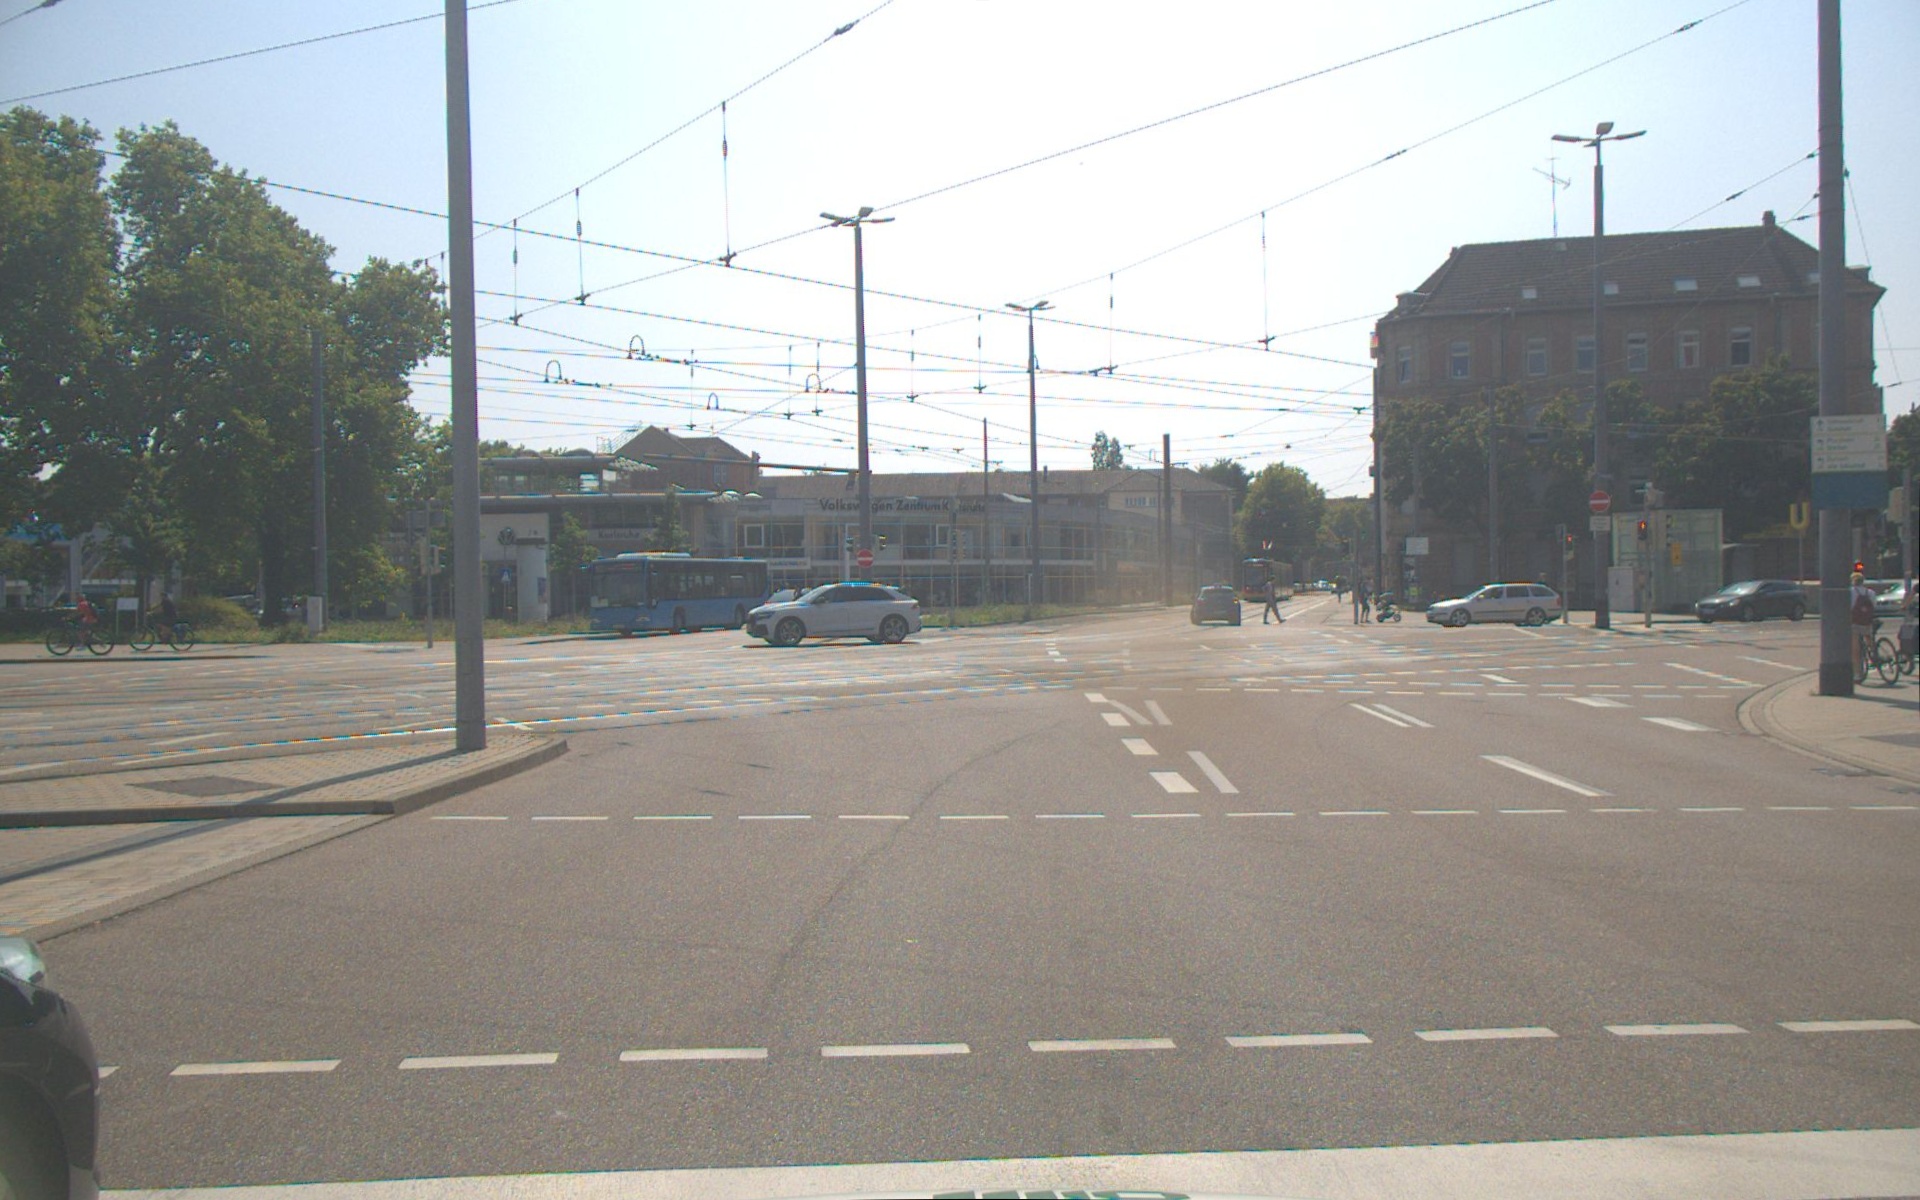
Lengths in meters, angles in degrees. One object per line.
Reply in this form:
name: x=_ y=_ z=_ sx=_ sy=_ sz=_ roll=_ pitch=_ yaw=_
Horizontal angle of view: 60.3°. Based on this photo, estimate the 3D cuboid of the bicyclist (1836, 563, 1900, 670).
bicyclist: x=13.401 y=0.240 z=24.423 sx=0.614 sy=1.544 sz=0.712 roll=-1 pitch=0 yaw=11

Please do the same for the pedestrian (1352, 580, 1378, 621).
pedestrian: x=15.712 y=0.011 z=64.121 sx=0.834 sy=1.572 sz=0.528 roll=-1 pitch=0 yaw=-9

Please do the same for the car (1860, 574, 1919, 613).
car: x=36.422 y=-0.268 z=62.948 sx=4.137 sy=1.440 sz=1.761 roll=-1 pitch=0 yaw=-26

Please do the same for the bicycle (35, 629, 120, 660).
bicycle: x=-24.622 y=1.232 z=46.186 sx=2.013 sy=0.816 sz=0.478 roll=-1 pitch=0 yaw=-13

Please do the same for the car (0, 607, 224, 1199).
car: x=-2.508 y=0.726 z=1.592 sx=1.728 sy=1.412 sz=3.783 roll=1 pitch=0 yaw=3

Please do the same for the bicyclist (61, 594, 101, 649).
bicyclist: x=-24.546 y=0.604 z=46.179 sx=0.856 sy=1.509 sz=0.496 roll=-1 pitch=0 yaw=-12

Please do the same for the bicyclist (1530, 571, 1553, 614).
bicyclist: x=21.363 y=-0.286 z=60.761 sx=0.603 sy=1.555 sz=0.517 roll=-1 pitch=0 yaw=-25

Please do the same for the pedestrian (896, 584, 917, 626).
pedestrian: x=-1.894 y=0.163 z=58.525 sx=0.666 sy=1.468 sz=0.364 roll=-1 pitch=0 yaw=-18

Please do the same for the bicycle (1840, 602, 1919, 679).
bicycle: x=13.419 y=0.572 z=24.182 sx=0.525 sy=1.073 sz=1.655 roll=-1 pitch=0 yaw=12

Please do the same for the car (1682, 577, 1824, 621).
car: x=27.864 y=-0.044 z=58.119 sx=4.684 sy=1.440 sz=1.765 roll=-1 pitch=0 yaw=-20

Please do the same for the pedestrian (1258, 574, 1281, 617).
pedestrian: x=12.087 y=-0.173 z=64.618 sx=0.686 sy=1.631 sz=0.572 roll=-1 pitch=0 yaw=-8

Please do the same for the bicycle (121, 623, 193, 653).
bicycle: x=-23.576 y=1.106 z=48.576 sx=1.828 sy=0.816 sz=0.604 roll=-1 pitch=0 yaw=-19

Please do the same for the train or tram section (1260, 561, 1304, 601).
train or tram section: x=30.861 y=-1.787 z=158.274 sx=2.534 sy=3.578 sz=12.979 roll=-1 pitch=0 yaw=18

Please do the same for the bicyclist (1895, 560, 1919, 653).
bicyclist: x=14.826 y=0.091 z=25.417 sx=0.519 sy=1.417 sz=0.894 roll=-1 pitch=0 yaw=11

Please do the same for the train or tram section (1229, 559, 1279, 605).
train or tram section: x=24.542 y=-1.478 z=137.634 sx=2.534 sy=3.578 sz=10.904 roll=-1 pitch=0 yaw=18

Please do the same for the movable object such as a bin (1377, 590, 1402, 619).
movable object such as a bin: x=16.576 y=0.164 z=63.873 sx=0.798 sy=1.096 sz=0.510 roll=-1 pitch=0 yaw=-11

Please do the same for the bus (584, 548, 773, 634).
bus: x=-11.033 y=-0.368 z=66.651 sx=2.508 sy=3.136 sz=12.031 roll=-1 pitch=0 yaw=16

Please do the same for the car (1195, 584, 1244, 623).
car: x=9.848 y=0.114 z=62.899 sx=1.557 sy=1.418 sz=4.003 roll=-1 pitch=0 yaw=5

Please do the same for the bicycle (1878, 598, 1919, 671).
bicycle: x=14.894 y=0.523 z=25.801 sx=0.525 sy=1.073 sz=1.655 roll=-1 pitch=0 yaw=12

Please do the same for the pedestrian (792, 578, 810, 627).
pedestrian: x=-5.584 y=0.078 z=58.038 sx=0.544 sy=1.713 sz=0.452 roll=-1 pitch=0 yaw=-19

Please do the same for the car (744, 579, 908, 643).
car: x=-3.731 y=0.298 z=45.862 sx=4.255 sy=1.646 sz=1.745 roll=-1 pitch=0 yaw=-19

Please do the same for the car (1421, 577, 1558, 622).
car: x=17.990 y=-0.037 z=56.326 sx=4.090 sy=1.440 sz=1.775 roll=-1 pitch=0 yaw=-1

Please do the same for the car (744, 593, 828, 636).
car: x=-6.644 y=0.539 z=63.555 sx=1.713 sy=1.579 sz=4.002 roll=-1 pitch=0 yaw=17

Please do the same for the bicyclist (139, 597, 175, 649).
bicyclist: x=-23.589 y=0.674 z=48.594 sx=0.857 sy=1.501 sz=0.543 roll=-1 pitch=0 yaw=-19
